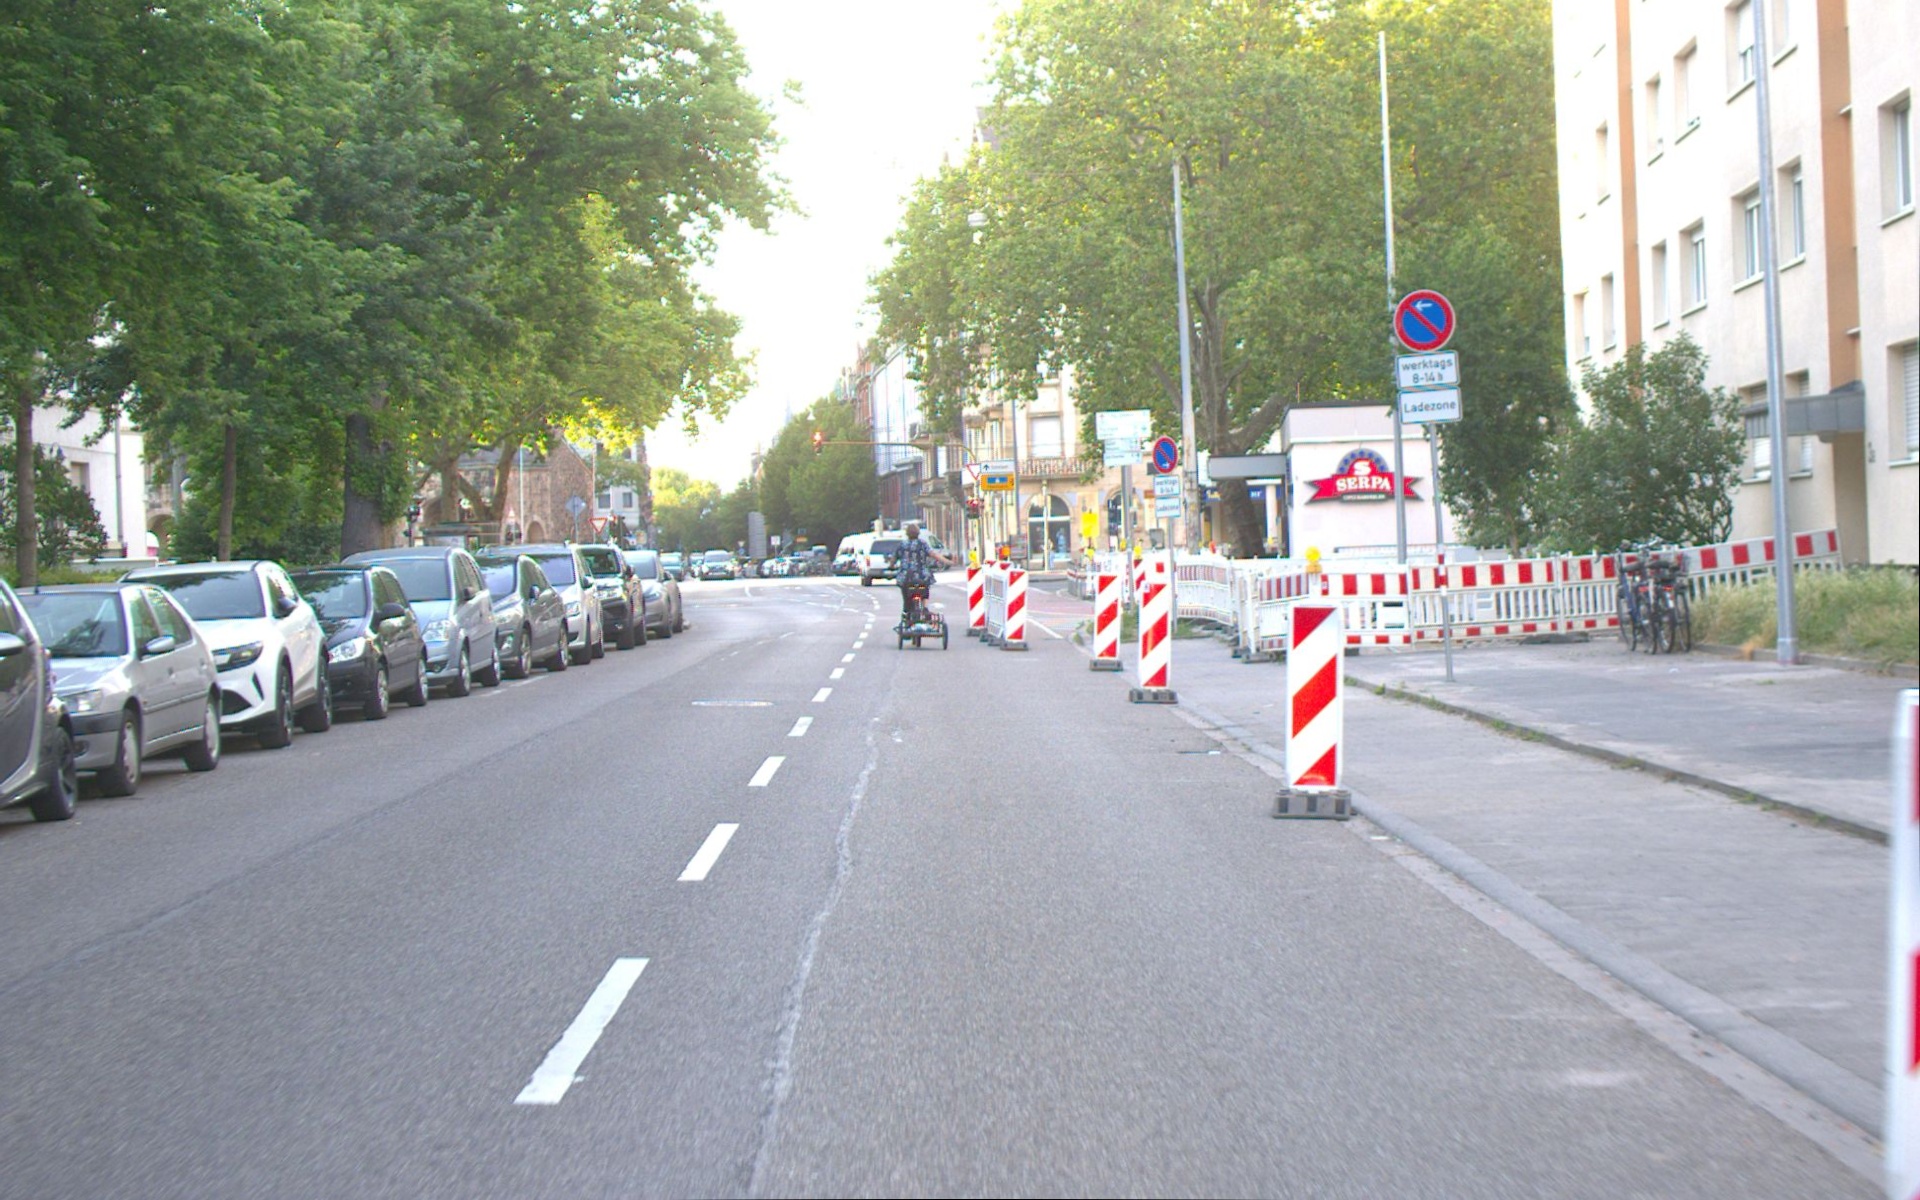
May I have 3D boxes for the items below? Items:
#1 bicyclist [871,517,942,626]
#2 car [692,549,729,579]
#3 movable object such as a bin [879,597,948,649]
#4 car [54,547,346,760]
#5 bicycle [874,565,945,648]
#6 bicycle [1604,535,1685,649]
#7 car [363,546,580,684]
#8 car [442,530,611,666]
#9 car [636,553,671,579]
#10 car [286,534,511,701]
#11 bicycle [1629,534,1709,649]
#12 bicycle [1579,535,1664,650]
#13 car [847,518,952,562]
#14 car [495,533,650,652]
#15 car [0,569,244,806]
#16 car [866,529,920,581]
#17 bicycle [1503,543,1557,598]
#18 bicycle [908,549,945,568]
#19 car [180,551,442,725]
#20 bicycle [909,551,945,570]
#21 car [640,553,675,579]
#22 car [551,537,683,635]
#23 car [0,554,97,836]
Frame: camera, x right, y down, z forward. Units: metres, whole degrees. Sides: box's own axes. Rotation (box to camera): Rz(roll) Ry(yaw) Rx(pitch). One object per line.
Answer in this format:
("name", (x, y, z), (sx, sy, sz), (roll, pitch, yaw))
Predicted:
("bicyclist", (-0.817, -0.433, 52.086), (0.939, 1.576, 1.146), (-4, 0, -2))
("car", (-14.084, -2.026, 193.686), (1.781, 1.645, 3.822), (0, 1, -9))
("movable object such as a bin", (-0.688, 0.332, 50.393), (0.939, 0.686, 0.993), (-4, 0, -2))
("car", (-6.270, 0.390, 28.776), (1.590, 1.533, 4.207), (-5, 1, -3))
("bicycle", (-0.777, 0.088, 52.070), (0.939, 1.168, 2.359), (-4, 0, -2))
("bicycle", (7.498, -0.099, 37.704), (0.398, 1.217, 1.911), (-1, 1, -3))
("car", (-5.955, 0.146, 42.393), (1.733, 1.492, 4.270), (-3, 1, 4))
("car", (-5.972, -0.066, 47.852), (1.846, 1.685, 4.860), (-4, 1, -2))
("car", (-19.897, -2.216, 223.158), (1.993, 1.645, 3.822), (0, 1, -9))
("car", (-6.066, 0.152, 37.587), (1.707, 1.595, 4.117), (-5, 1, -1))
("bicycle", (7.749, -0.100, 37.637), (0.398, 1.217, 1.826), (-1, 1, -3))
("bicycle", (7.224, -0.097, 37.612), (0.451, 1.217, 1.911), (-1, 1, -3))
("car", (-3.311, -3.327, 189.231), (5.807, 2.280, 2.071), (-2, 1, -43))
("car", (-6.159, -0.152, 55.106), (1.953, 1.713, 4.771), (-4, 1, -1))
("car", (-6.157, 0.565, 23.490), (1.590, 1.399, 4.181), (-5, 1, 0))
("car", (-2.489, -1.666, 127.038), (1.866, 1.808, 4.000), (-3, 1, -2))
("bicycle", (10.413, -0.544, 62.736), (0.544, 0.965, 1.812), (-1, 1, 23))
("bicycle", (-1.782, -2.214, 182.735), (1.914, 0.965, 0.546), (-2, 1, -2))
("car", (-6.187, 0.315, 33.171), (1.707, 1.447, 3.843), (-5, 1, 0))
("bicycle", (-1.756, -2.103, 183.016), (1.914, 0.965, 0.546), (-2, 1, -2))
("car", (-18.974, -2.141, 215.466), (1.993, 1.645, 3.822), (0, 1, -9))
("car", (-6.235, -0.287, 62.945), (1.953, 1.611, 4.605), (-4, 1, -1))
("car", (-6.017, 0.564, 19.311), (1.523, 1.524, 3.165), (-5, 1, -2))
